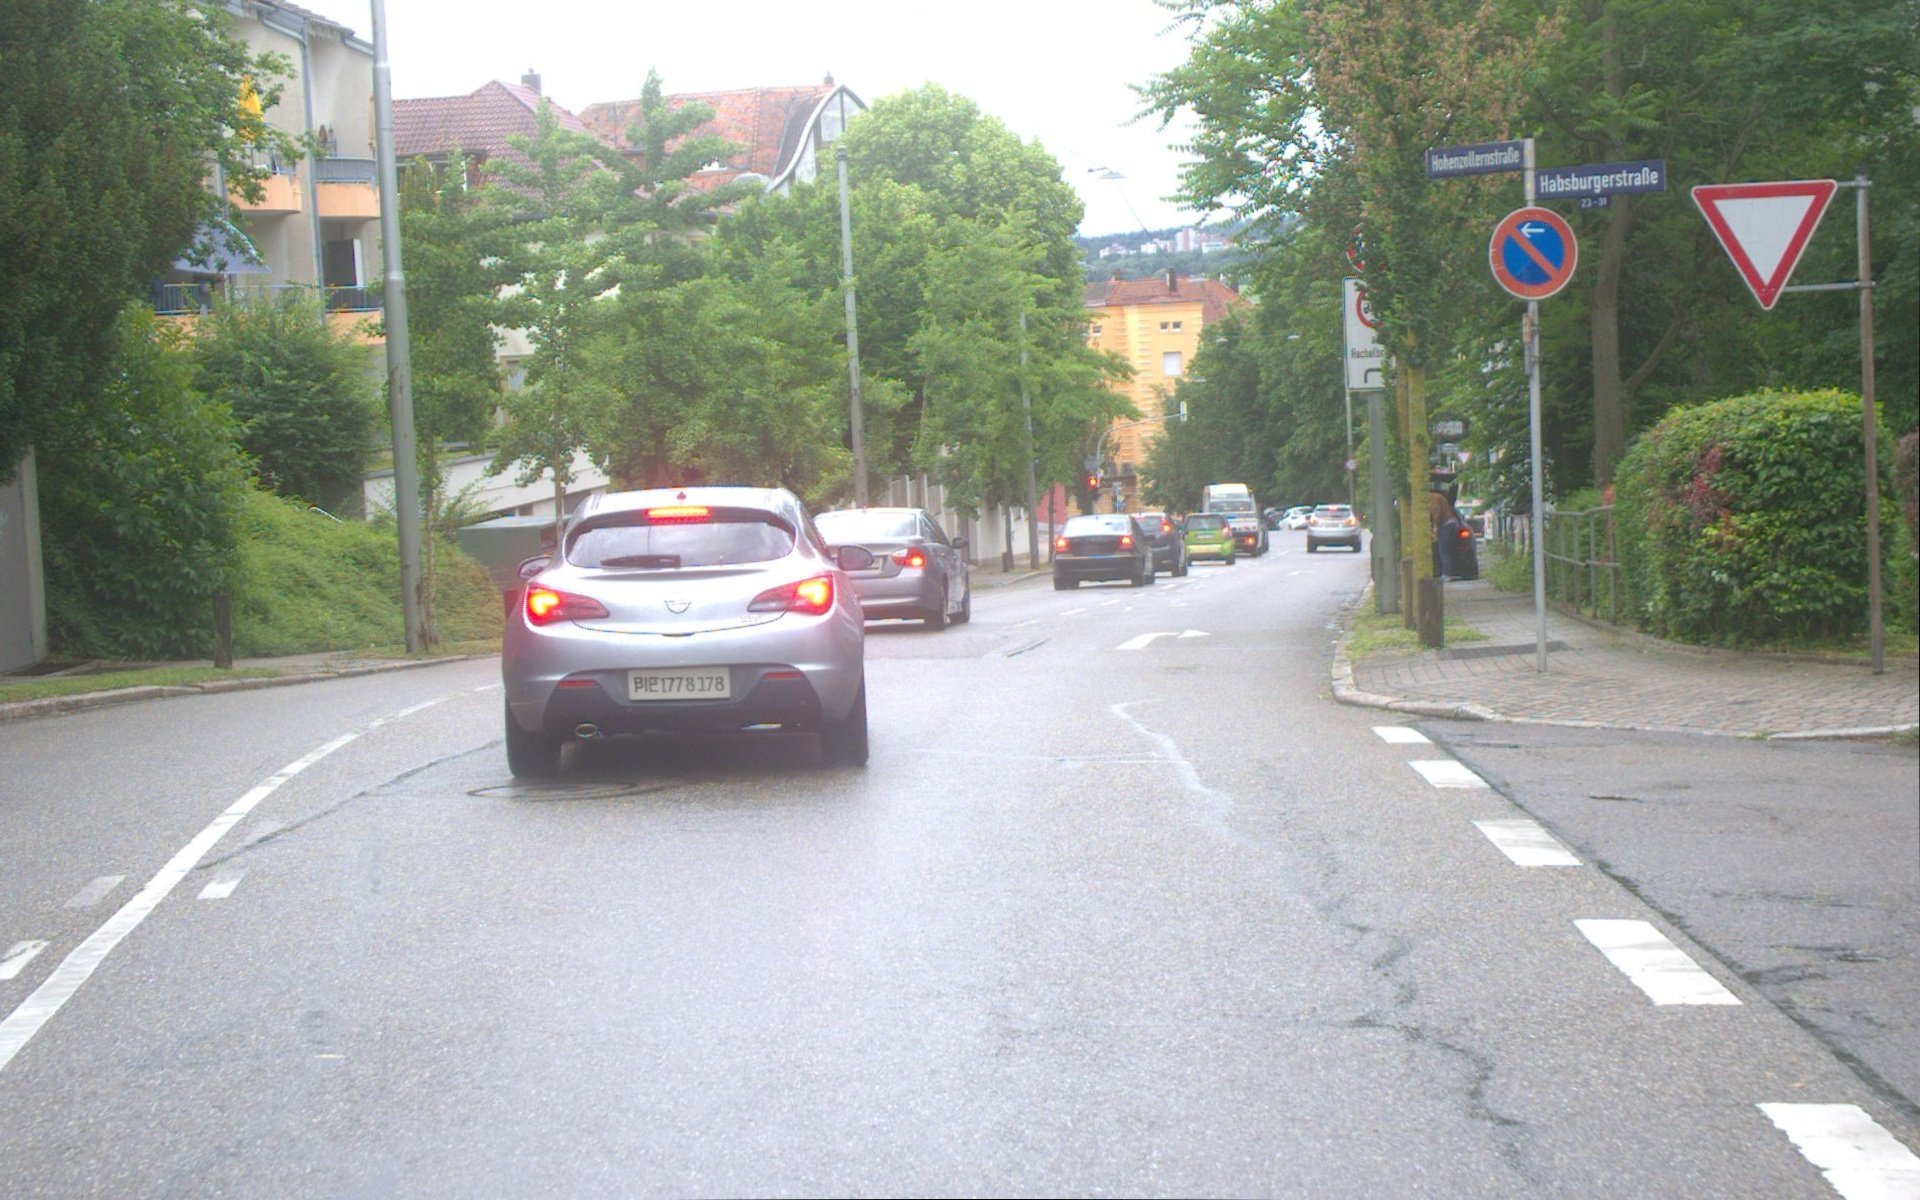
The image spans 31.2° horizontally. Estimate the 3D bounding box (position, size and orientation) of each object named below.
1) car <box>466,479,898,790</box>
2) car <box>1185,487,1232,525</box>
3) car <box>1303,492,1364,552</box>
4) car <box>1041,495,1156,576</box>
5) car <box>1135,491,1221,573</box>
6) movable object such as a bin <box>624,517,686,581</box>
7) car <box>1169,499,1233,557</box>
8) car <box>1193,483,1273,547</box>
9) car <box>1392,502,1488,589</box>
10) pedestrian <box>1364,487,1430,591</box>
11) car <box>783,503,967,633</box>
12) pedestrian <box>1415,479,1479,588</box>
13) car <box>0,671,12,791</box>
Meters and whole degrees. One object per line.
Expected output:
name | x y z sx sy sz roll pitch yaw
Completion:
car | -1.382 0.103 18.606 1.945 1.427 3.884 -2 2 0
car | 12.079 -4.578 166.968 1.994 1.778 3.999 0 2 8
car | 13.228 -2.775 121.596 1.994 2.029 4.734 0 2 8
car | 2.663 -1.254 65.469 1.961 1.467 3.950 0 2 6
car | 4.910 -1.549 77.095 1.769 1.775 3.976 0 2 6
movable object such as a bin | -6.757 -1.130 76.157 1.272 1.382 0.489 -1 2 6
car | 7.052 -2.111 100.422 1.754 1.645 3.999 0 1 6
car | 9.034 -2.824 113.405 2.335 2.029 4.734 0 2 8
car | 8.616 -0.976 61.902 1.504 1.430 3.999 -3 0 6
pedestrian | 7.568 -1.053 59.593 0.734 1.718 0.765 -6 1 -18
car | -0.911 -0.395 38.965 1.798 1.318 4.000 -2 2 2
pedestrian | 8.446 -1.151 59.631 0.663 1.830 0.689 -6 1 -27
car | -6.176 0.354 15.986 1.912 1.579 4.586 -6 1 3
